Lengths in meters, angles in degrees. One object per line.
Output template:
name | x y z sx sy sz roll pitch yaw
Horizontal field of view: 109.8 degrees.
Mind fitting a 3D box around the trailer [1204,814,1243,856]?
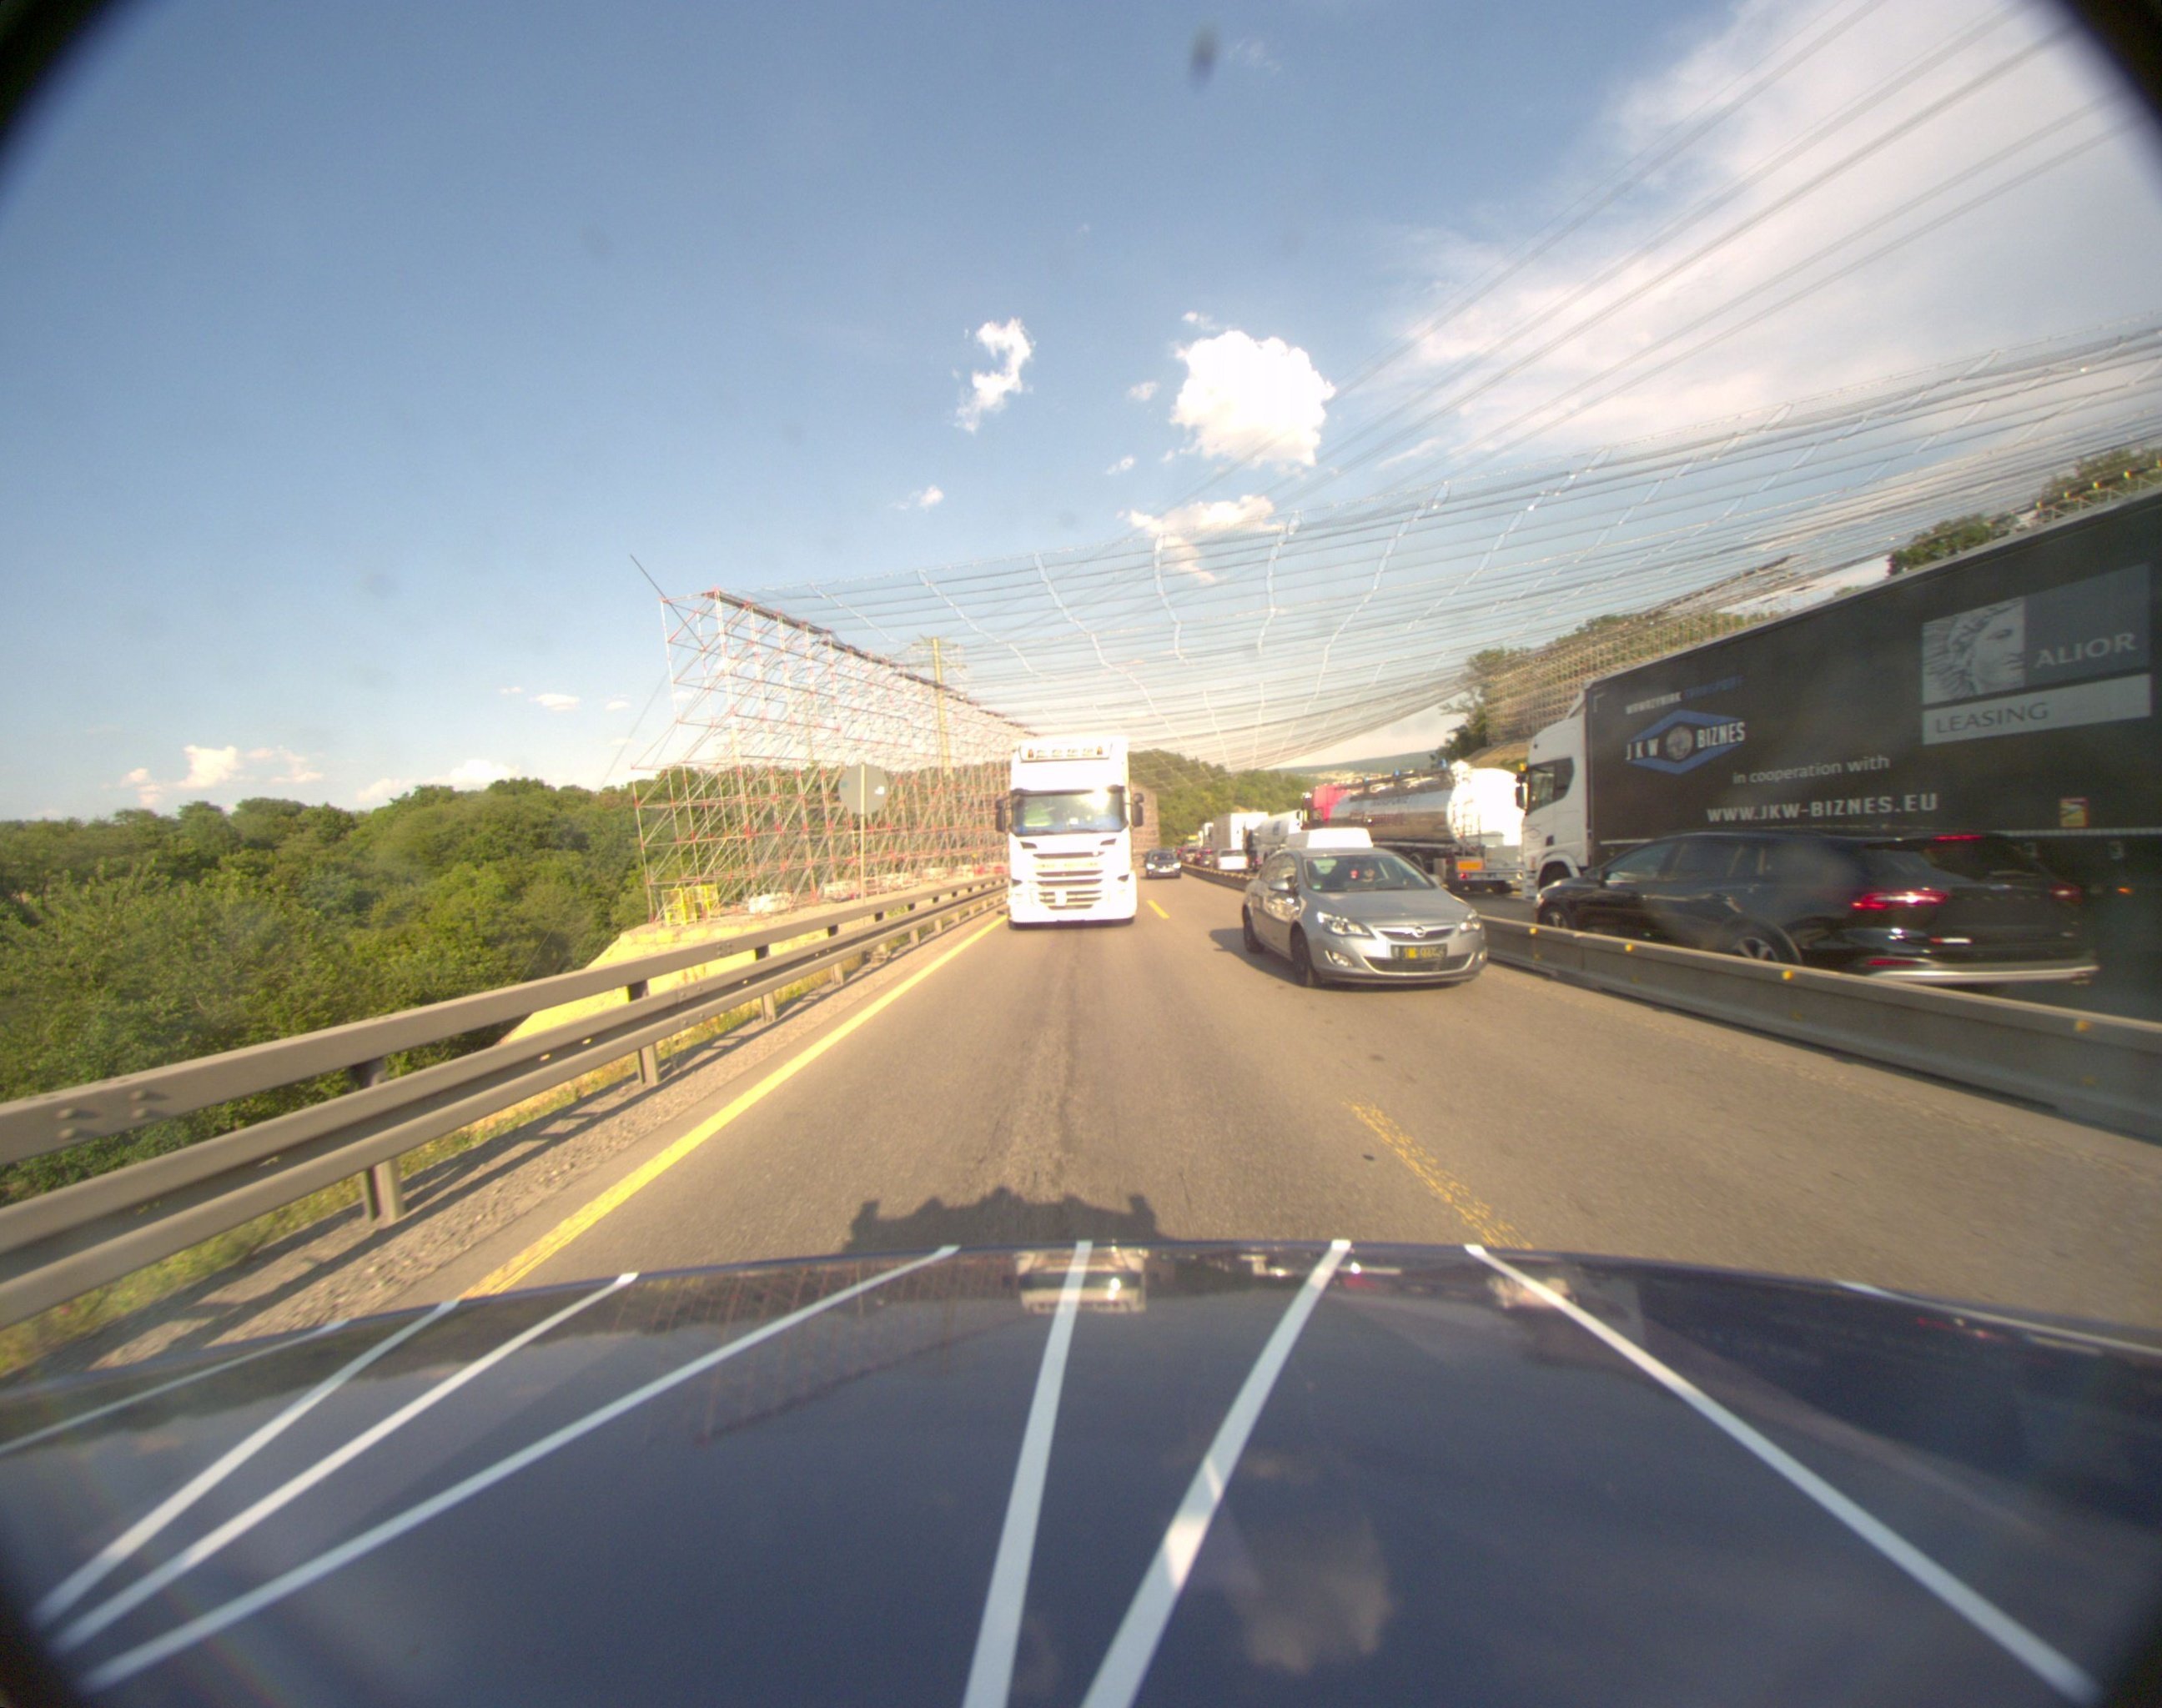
trailer | 14.857 -1.935 80.137 2.675 3.993 13.336 -2 1 5

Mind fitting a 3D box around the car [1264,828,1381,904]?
car | 6.800 0.273 21.990 1.821 1.914 4.835 -2 1 0

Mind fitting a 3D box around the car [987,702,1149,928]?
car | -0.155 -0.792 18.251 2.858 4.092 8.279 -2 1 1

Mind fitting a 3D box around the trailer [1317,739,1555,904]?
trailer | 10.154 -0.867 23.756 2.312 3.768 12.052 -2 1 3

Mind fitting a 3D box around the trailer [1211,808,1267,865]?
trailer | 12.446 -1.360 61.048 2.433 3.940 14.100 -2 1 4

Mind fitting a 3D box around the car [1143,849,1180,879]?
car | 4.150 0.490 39.323 1.764 1.376 3.823 -2 1 5

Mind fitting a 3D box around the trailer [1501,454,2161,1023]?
trailer | 9.526 -0.970 9.881 2.482 4.304 10.510 -2 1 1

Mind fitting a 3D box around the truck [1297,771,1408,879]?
truck | 10.483 -1.083 29.917 2.438 3.763 5.617 -2 1 2

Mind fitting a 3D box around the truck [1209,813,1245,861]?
truck | 13.006 -1.545 67.977 2.479 4.023 5.618 -2 1 4

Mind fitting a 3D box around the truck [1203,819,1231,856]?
truck | 15.476 -1.859 86.755 2.636 3.888 7.207 -2 1 6

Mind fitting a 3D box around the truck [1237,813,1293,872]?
truck | 11.336 -0.729 47.282 2.419 3.351 5.618 -2 1 4

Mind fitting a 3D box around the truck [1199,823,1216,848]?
truck | 23.013 -3.329 138.014 2.726 4.203 14.176 -2 1 10

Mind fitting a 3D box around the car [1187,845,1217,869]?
car | 8.075 0.164 50.918 1.510 1.520 3.587 -2 1 3

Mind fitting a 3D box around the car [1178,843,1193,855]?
car | 13.238 -0.637 96.083 1.611 1.368 3.901 -2 1 5

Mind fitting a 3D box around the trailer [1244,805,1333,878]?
trailer | 11.000 -0.686 41.498 2.312 3.342 12.054 -2 1 4

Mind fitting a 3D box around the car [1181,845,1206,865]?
car | 9.368 0.047 63.371 1.754 1.578 3.943 -2 1 5

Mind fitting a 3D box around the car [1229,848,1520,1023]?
car | 3.029 0.711 8.918 1.760 1.464 4.352 -2 1 1

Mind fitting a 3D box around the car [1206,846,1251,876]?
car | 7.735 0.335 40.223 1.631 1.418 4.657 -2 1 2

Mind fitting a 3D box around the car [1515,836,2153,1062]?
car | 6.364 0.602 7.391 1.684 1.470 4.602 -2 1 1

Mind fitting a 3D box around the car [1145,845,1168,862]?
car | 6.512 -0.038 65.658 1.675 1.376 3.822 -2 1 2
